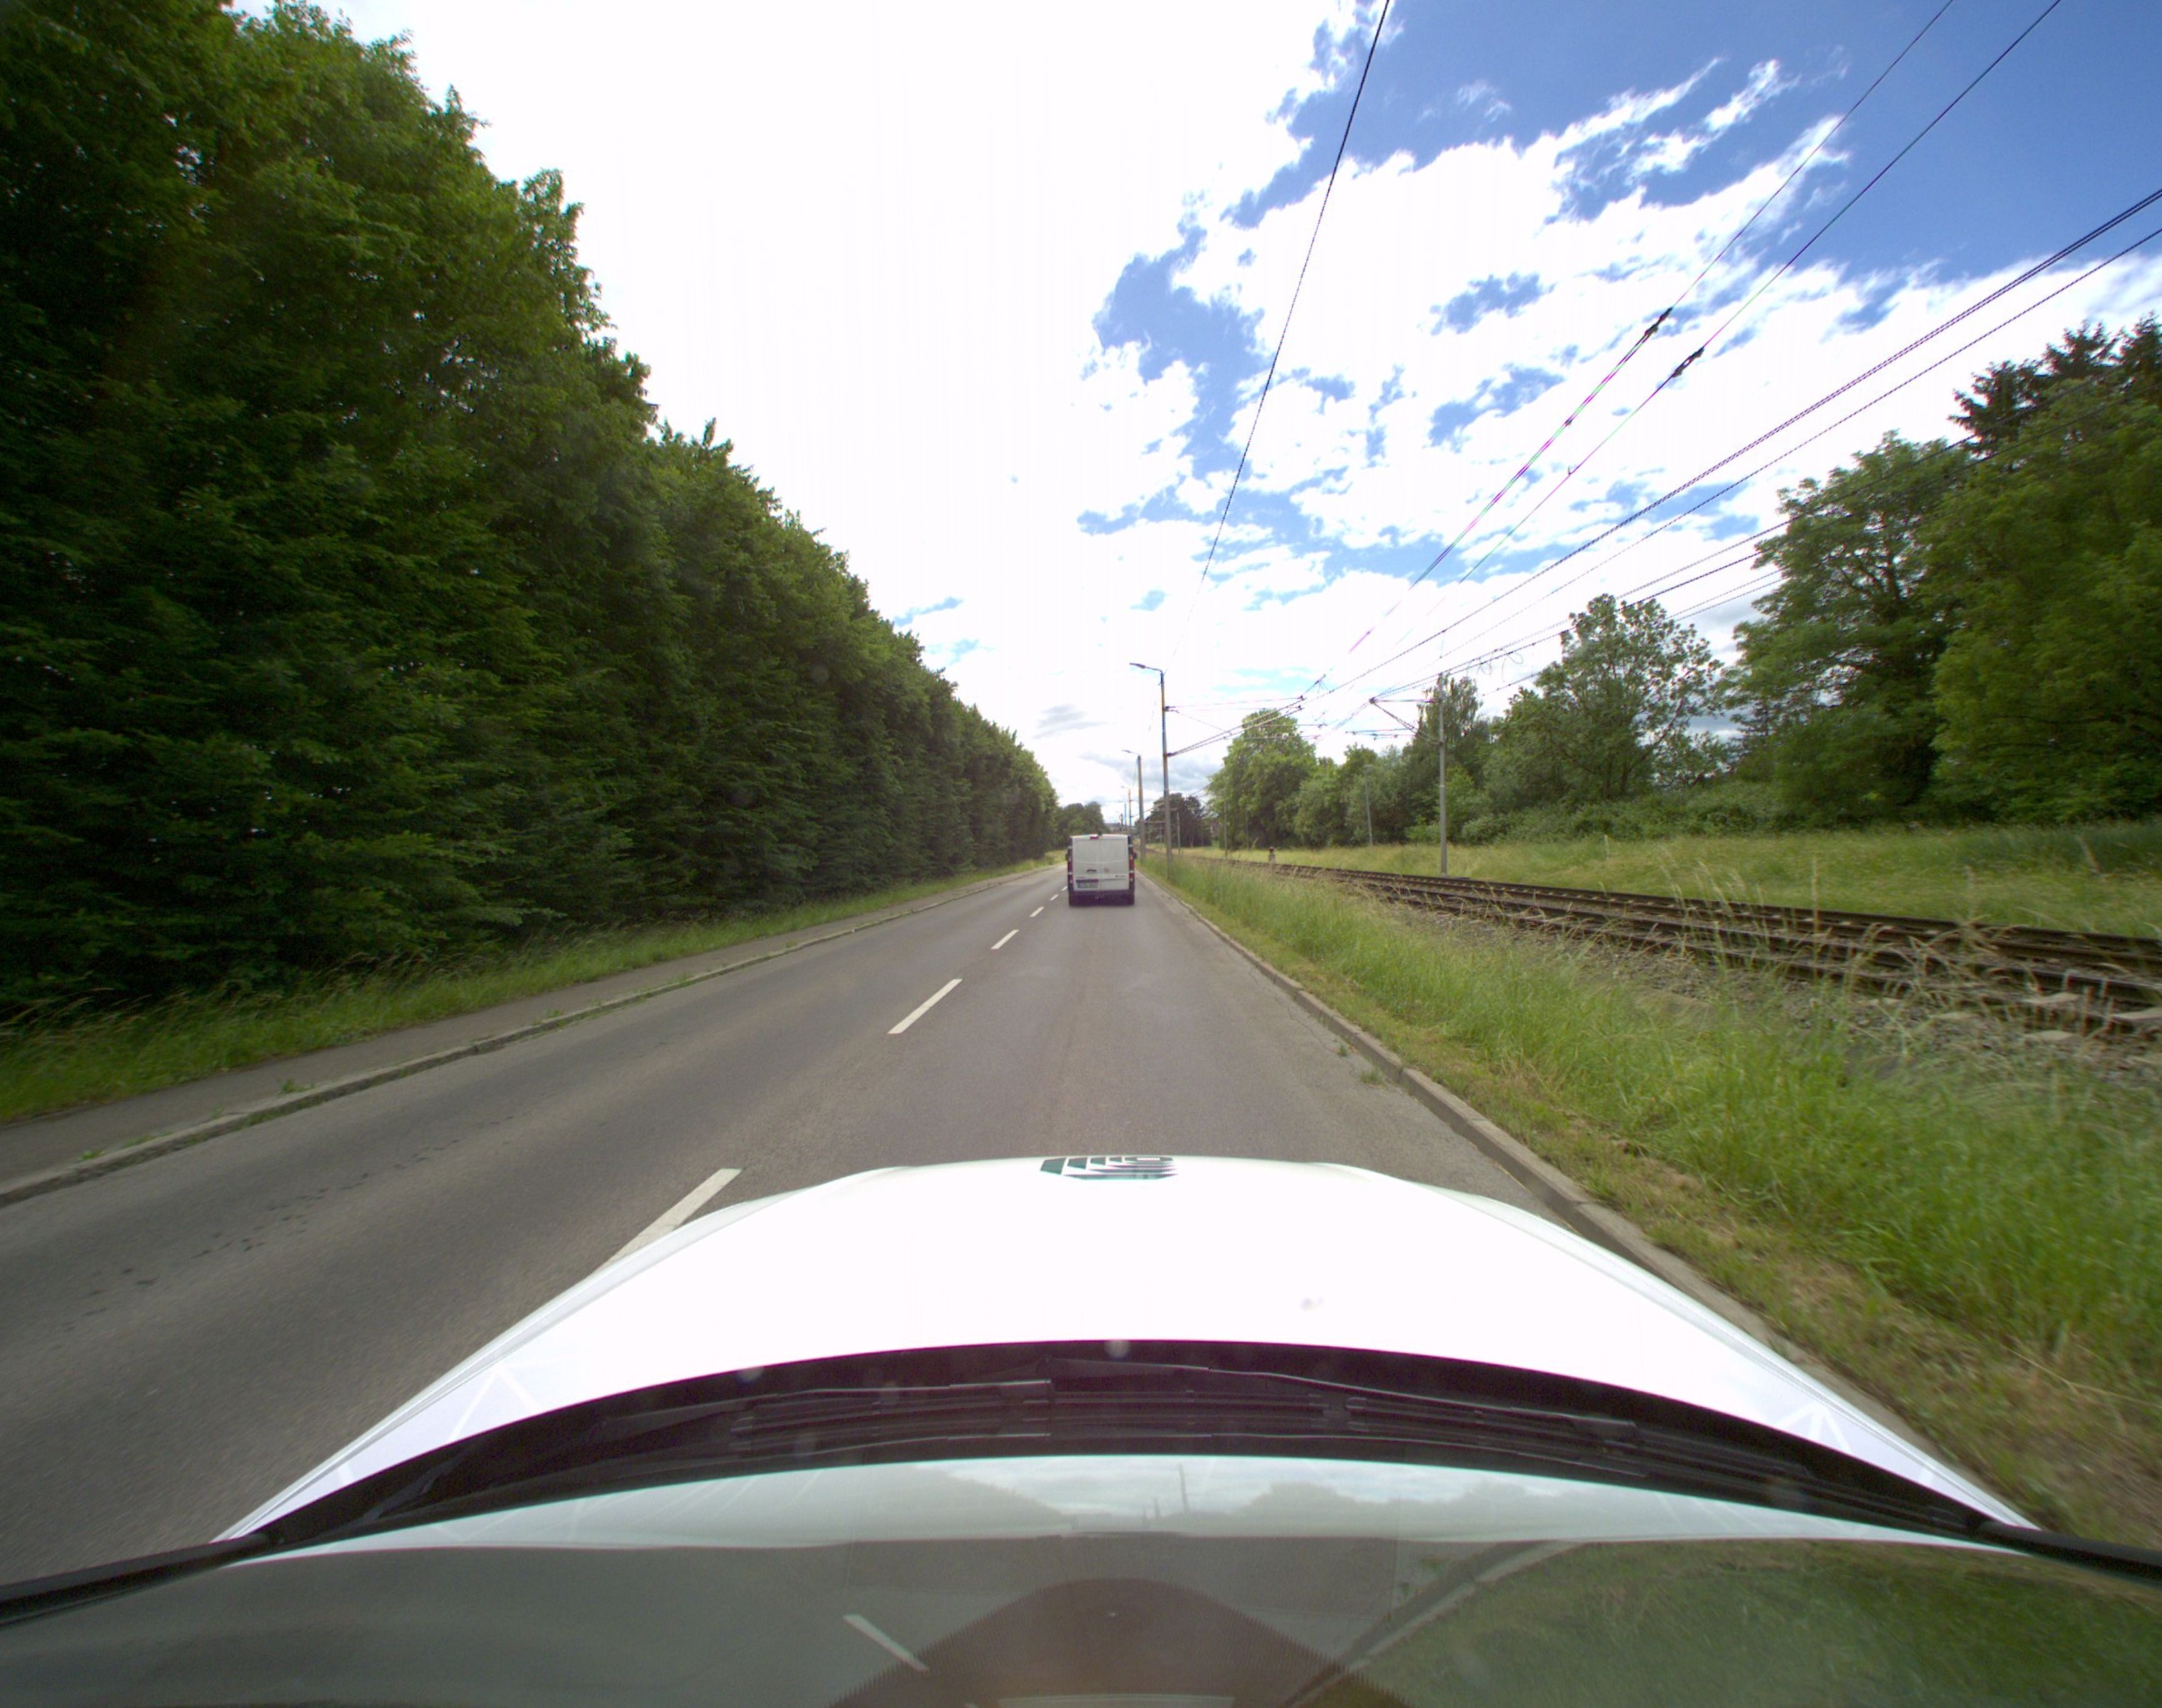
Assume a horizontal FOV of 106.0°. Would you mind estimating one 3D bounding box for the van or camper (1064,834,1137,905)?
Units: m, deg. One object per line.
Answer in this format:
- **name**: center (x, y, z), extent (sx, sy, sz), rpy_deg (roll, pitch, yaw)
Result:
- **van or camper**: center (0.593, 0.390, 23.810), extent (1.934, 1.897, 4.287), rpy_deg (0, 1, 2)
